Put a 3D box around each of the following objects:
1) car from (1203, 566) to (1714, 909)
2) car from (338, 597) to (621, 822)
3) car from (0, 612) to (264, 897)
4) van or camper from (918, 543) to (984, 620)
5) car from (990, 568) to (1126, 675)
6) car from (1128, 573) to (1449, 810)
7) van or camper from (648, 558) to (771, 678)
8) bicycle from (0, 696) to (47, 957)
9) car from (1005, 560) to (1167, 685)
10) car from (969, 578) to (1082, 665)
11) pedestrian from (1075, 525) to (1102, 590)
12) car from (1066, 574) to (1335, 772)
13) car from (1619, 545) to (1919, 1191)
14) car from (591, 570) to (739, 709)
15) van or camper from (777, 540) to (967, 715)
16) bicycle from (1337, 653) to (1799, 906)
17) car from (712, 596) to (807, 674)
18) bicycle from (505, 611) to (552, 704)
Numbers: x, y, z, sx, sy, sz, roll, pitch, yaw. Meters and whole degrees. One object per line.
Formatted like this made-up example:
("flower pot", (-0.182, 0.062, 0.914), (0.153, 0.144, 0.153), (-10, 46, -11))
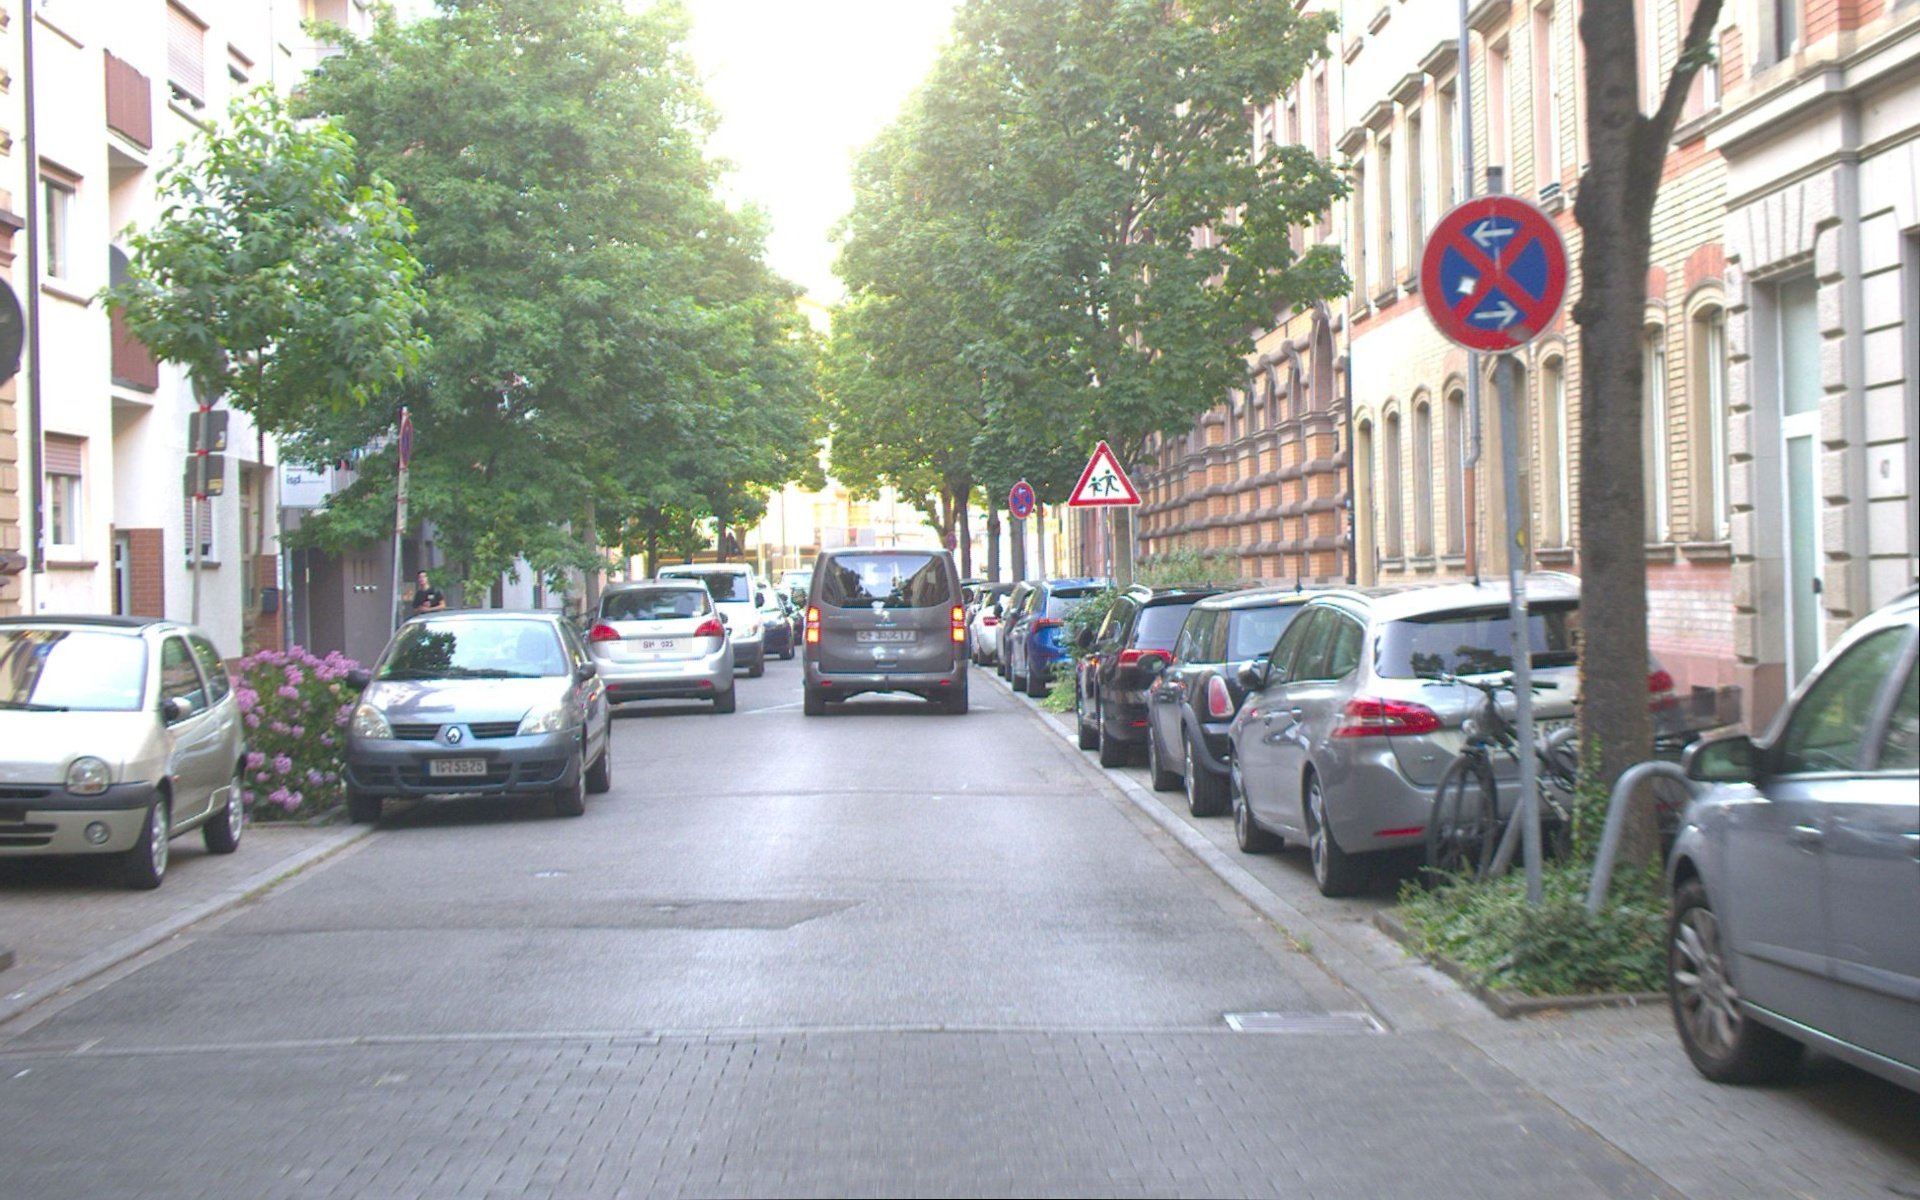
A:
("car", (2.428, 0.602, 17.835), (1.716, 1.471, 4.369), (-3, 1, -3))
("car", (-3.377, 0.724, 24.712), (1.580, 1.415, 3.753), (-2, 0, -2))
("car", (-5.079, 0.807, 19.623), (1.587, 1.432, 3.566), (0, 0, -2))
("van or camper", (-0.334, -0.658, 120.027), (1.993, 2.590, 5.425), (-1, 0, -3))
("car", (1.408, 0.285, 50.890), (1.711, 1.473, 4.193), (-1, 1, -2))
("car", (2.157, 0.563, 23.440), (1.635, 1.419, 3.565), (-2, 1, -3))
("van or camper", (-4.116, 0.263, 57.050), (1.876, 1.836, 4.753), (-2, 1, -3))
("bicycle", (-4.748, 0.955, 14.824), (1.826, 1.081, 0.667), (-1, -1, 42))
("car", (1.566, 0.258, 44.015), (1.627, 1.461, 4.246), (-2, 0, -3))
("car", (1.114, 0.347, 60.786), (1.693, 1.396, 4.646), (-2, 1, -2))
("pedestrian", (3.254, -1.085, 87.194), (0.627, 1.643, 0.532), (-1, 0, -1))
("car", (1.915, 0.541, 28.629), (1.766, 1.410, 4.474), (-3, 1, -1))
("car", (3.026, 0.584, 8.547), (1.758, 1.458, 4.308), (-2, 1, -2))
("car", (-3.572, 0.442, 41.795), (1.663, 1.558, 4.001), (-2, 0, -5))
("van or camper", (-0.969, 0.288, 40.010), (2.035, 1.891, 4.271), (-1, 0, 0))
("bicycle", (2.647, 0.756, 14.939), (1.915, 0.978, 0.638), (-2, 1, -23))
("car", (-4.137, 0.704, 71.515), (1.830, 1.512, 4.516), (-1, 0, -2))
("bicycle", (-5.289, 0.691, 42.177), (0.419, 1.100, 1.665), (-1, 0, -2))
